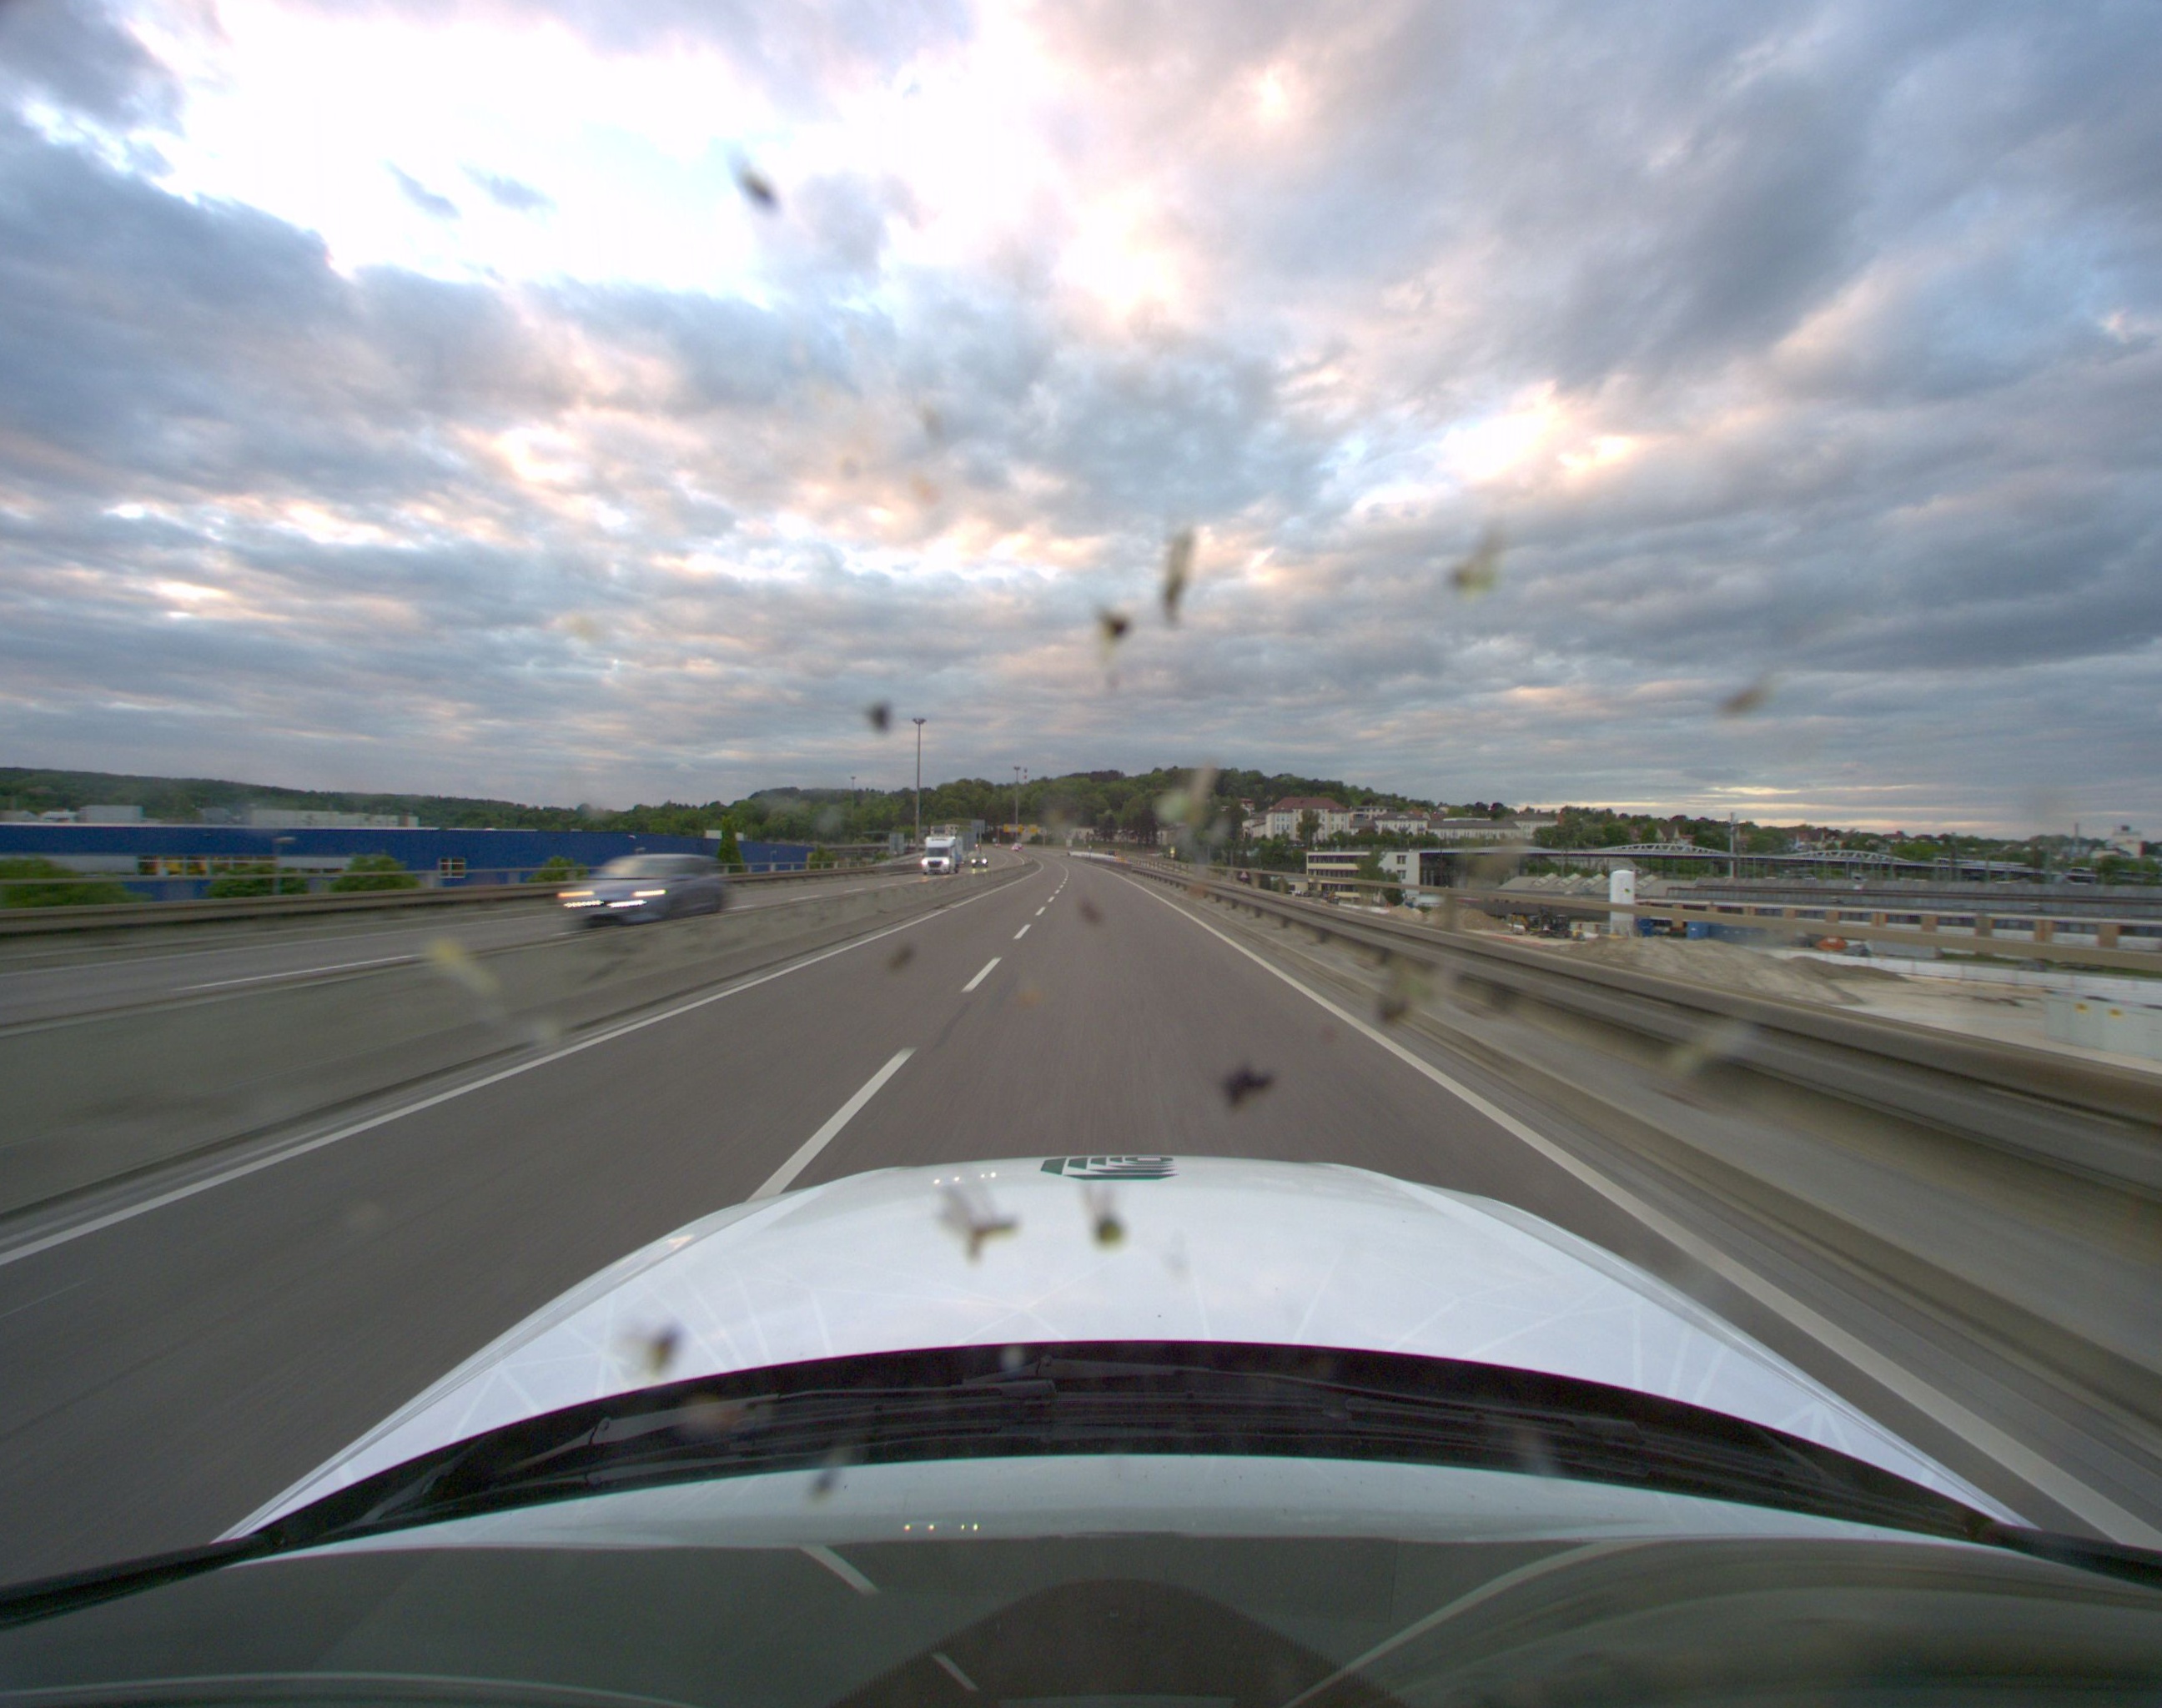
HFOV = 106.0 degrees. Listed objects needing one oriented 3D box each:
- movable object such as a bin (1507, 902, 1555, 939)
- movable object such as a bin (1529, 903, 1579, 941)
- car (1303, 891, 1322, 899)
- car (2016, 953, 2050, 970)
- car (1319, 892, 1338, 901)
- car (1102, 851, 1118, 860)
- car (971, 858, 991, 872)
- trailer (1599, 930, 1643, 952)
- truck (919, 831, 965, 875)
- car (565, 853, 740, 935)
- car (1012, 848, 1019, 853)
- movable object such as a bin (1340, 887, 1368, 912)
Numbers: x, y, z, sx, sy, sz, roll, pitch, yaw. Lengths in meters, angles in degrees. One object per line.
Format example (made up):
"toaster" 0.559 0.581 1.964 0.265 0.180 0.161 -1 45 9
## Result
"movable object such as a bin" 61.341 9.020 111.015 4.951 4.310 2.770 6 -1 -16
"movable object such as a bin" 62.255 8.991 107.193 4.951 4.310 2.770 6 -1 -16
"car" 52.266 9.299 183.930 4.016 1.565 1.813 4 2 -35
"car" 104.220 11.792 89.146 4.014 1.420 1.853 6 0 -33
"car" 53.757 9.246 176.885 4.016 1.565 1.813 4 2 -35
"car" 5.755 0.301 163.782 2.305 1.763 4.247 1 1 -10
"car" -12.012 1.312 98.247 1.971 1.605 4.438 0 0 -2
"trailer" 61.946 9.961 93.489 1.992 1.803 3.834 6 0 -8
"truck" -11.024 -0.047 65.203 2.528 3.297 7.441 0 0 -1
"car" -8.647 0.737 16.819 1.624 1.441 3.834 -1 1 -1
"car" -18.815 -1.126 234.073 1.631 1.387 3.987 -1 1 -10
"movable object such as a bin" 54.486 9.114 162.750 2.779 4.310 4.935 6 -1 -13
